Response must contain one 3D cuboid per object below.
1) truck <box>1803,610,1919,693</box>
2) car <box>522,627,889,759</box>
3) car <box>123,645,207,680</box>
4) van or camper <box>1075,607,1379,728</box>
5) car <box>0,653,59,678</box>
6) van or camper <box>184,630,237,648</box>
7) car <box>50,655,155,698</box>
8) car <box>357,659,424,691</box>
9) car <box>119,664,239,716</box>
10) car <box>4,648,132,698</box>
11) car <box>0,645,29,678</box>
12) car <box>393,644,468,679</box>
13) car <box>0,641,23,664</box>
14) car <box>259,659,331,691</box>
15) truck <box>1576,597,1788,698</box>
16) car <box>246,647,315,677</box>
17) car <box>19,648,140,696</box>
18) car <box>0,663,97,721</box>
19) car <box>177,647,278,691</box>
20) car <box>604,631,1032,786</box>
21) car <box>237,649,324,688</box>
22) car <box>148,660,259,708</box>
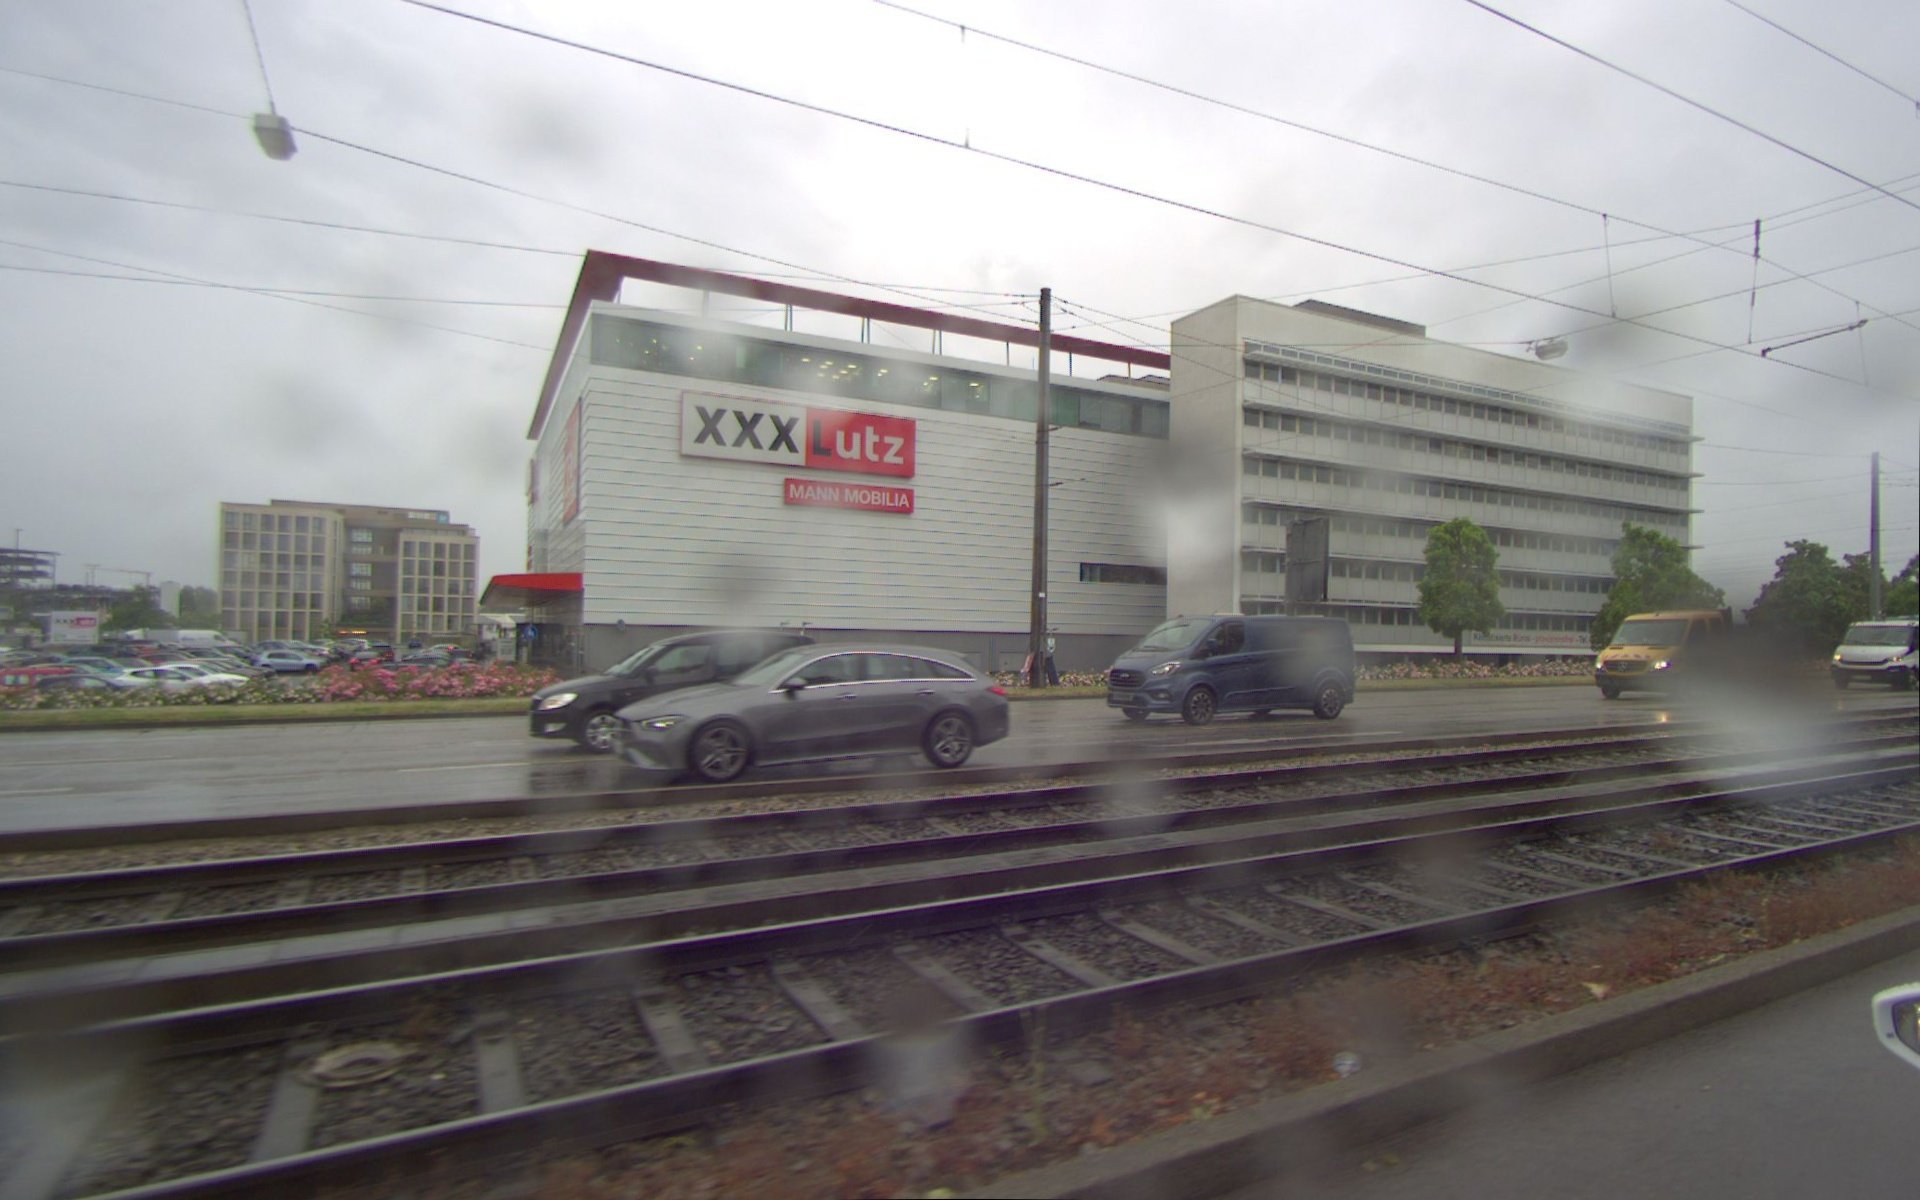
[{"bbox_3d":[31.773,1.703,33.812,7.122,2.490,2.427,2,1,-26],"label":"truck"},{"bbox_3d":[-3.605,1.291,14.476,4.845,1.638,1.852,2,-4,-27],"label":"car"},{"bbox_3d":[-50.554,3.973,63.978,3.955,2.040,1.983,2,1,-31],"label":"car"},{"bbox_3d":[5.190,1.253,19.358,5.614,2.040,2.296,2,-2,-28],"label":"van or camper"},{"bbox_3d":[-61.120,4.283,65.572,3.134,1.544,1.559,2,0,-32],"label":"car"},{"bbox_3d":[-89.719,4.680,120.375,4.941,2.141,1.769,2,0,-34],"label":"van or camper"},{"bbox_3d":[-45.664,4.051,53.617,3.955,2.040,1.983,2,1,-31],"label":"car"},{"bbox_3d":[-39.689,5.176,69.974,3.956,2.040,1.983,2,0,-32],"label":"car"},{"bbox_3d":[-34.641,3.957,44.712,3.955,2.040,1.983,2,1,-31],"label":"car"},{"bbox_3d":[-40.167,3.241,45.367,3.955,2.040,1.983,2,1,-31],"label":"car"},{"bbox_3d":[-60.250,3.791,61.927,3.864,1.930,1.807,2,0,-33],"label":"car"},{"bbox_3d":[-32.720,3.783,62.038,3.954,2.040,1.983,2,0,-31],"label":"car"},{"bbox_3d":[-71.268,3.778,73.210,3.958,1.582,1.751,2,0,-29],"label":"car"},{"bbox_3d":[-45.194,5.083,68.340,3.956,2.040,1.983,2,0,-32],"label":"car"},{"bbox_3d":[19.882,1.269,27.595,5.990,2.494,2.218,2,1,-28],"label":"truck"},{"bbox_3d":[-49.290,4.469,72.960,3.956,2.040,1.983,2,0,-32],"label":"car"},{"bbox_3d":[-41.311,3.329,47.263,3.955,2.040,1.983,2,1,-31],"label":"car"},{"bbox_3d":[-36.196,3.536,38.844,3.955,2.040,1.983,2,1,-31],"label":"car"},{"bbox_3d":[-37.779,3.545,51.946,3.954,2.040,1.983,2,0,-31],"label":"car"},{"bbox_3d":[-1.598,1.168,11.790,4.633,1.513,1.850,2,-3,-29],"label":"car"},{"bbox_3d":[-38.864,3.911,57.557,3.954,2.040,1.983,2,0,-31],"label":"car"},{"bbox_3d":[-35.775,3.934,47.656,3.955,2.040,1.983,2,1,-31],"label":"car"}]
